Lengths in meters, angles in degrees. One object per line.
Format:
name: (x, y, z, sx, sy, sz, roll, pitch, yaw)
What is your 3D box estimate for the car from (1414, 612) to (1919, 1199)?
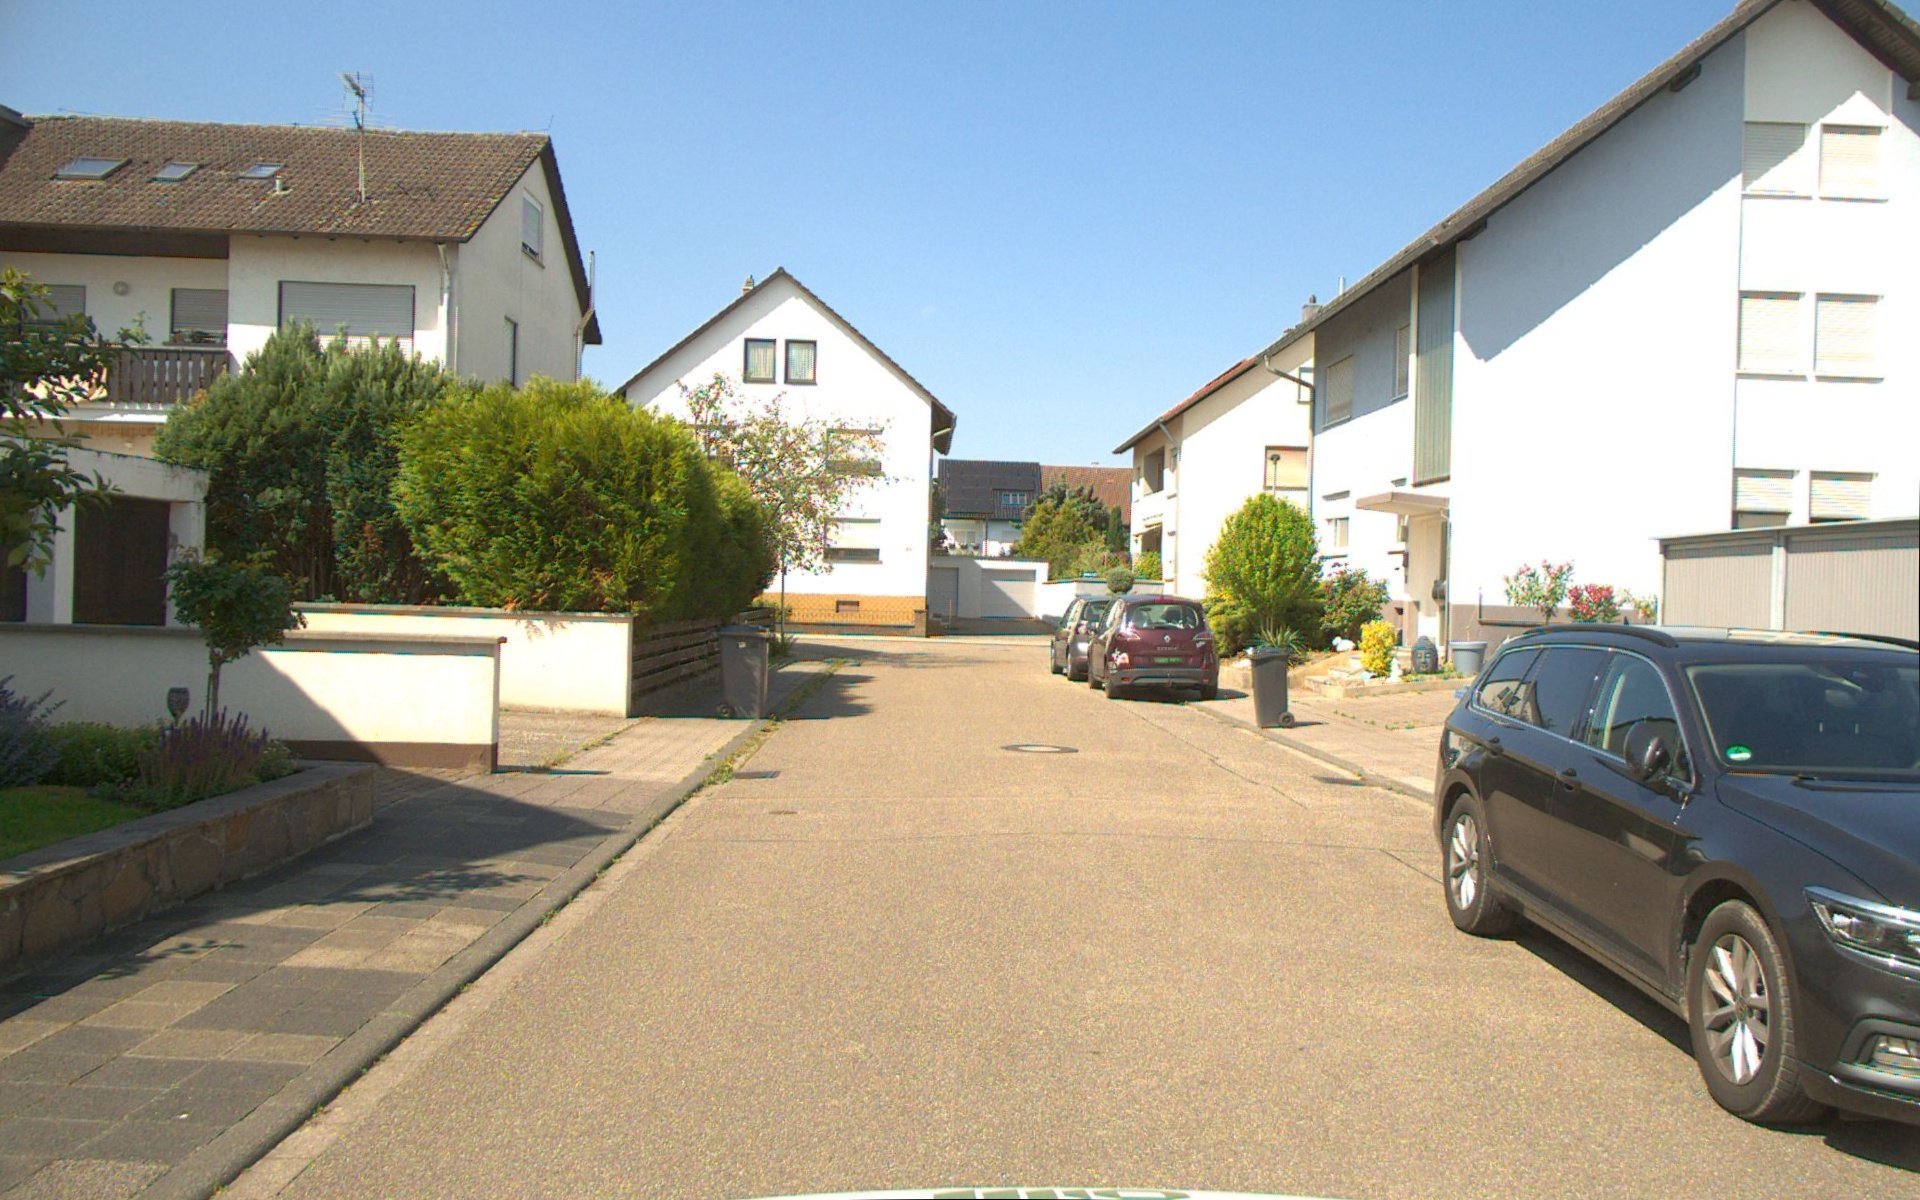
car: (3.199, 0.829, 6.352, 1.682, 1.463, 4.503, 2, 0, 1)

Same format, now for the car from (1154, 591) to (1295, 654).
car: (7.397, 0.634, 46.171, 3.763, 1.609, 1.631, 2, 0, -34)

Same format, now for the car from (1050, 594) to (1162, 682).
car: (2.789, 0.685, 32.254, 1.612, 1.573, 4.045, 1, 0, -3)

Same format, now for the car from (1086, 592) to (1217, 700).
car: (3.084, 0.688, 27.324, 1.611, 1.609, 4.146, 1, 0, -1)

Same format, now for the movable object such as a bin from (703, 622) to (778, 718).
movable object such as a bin: (-2.579, 0.816, 19.510, 0.802, 1.082, 0.611, 1, 0, -2)
